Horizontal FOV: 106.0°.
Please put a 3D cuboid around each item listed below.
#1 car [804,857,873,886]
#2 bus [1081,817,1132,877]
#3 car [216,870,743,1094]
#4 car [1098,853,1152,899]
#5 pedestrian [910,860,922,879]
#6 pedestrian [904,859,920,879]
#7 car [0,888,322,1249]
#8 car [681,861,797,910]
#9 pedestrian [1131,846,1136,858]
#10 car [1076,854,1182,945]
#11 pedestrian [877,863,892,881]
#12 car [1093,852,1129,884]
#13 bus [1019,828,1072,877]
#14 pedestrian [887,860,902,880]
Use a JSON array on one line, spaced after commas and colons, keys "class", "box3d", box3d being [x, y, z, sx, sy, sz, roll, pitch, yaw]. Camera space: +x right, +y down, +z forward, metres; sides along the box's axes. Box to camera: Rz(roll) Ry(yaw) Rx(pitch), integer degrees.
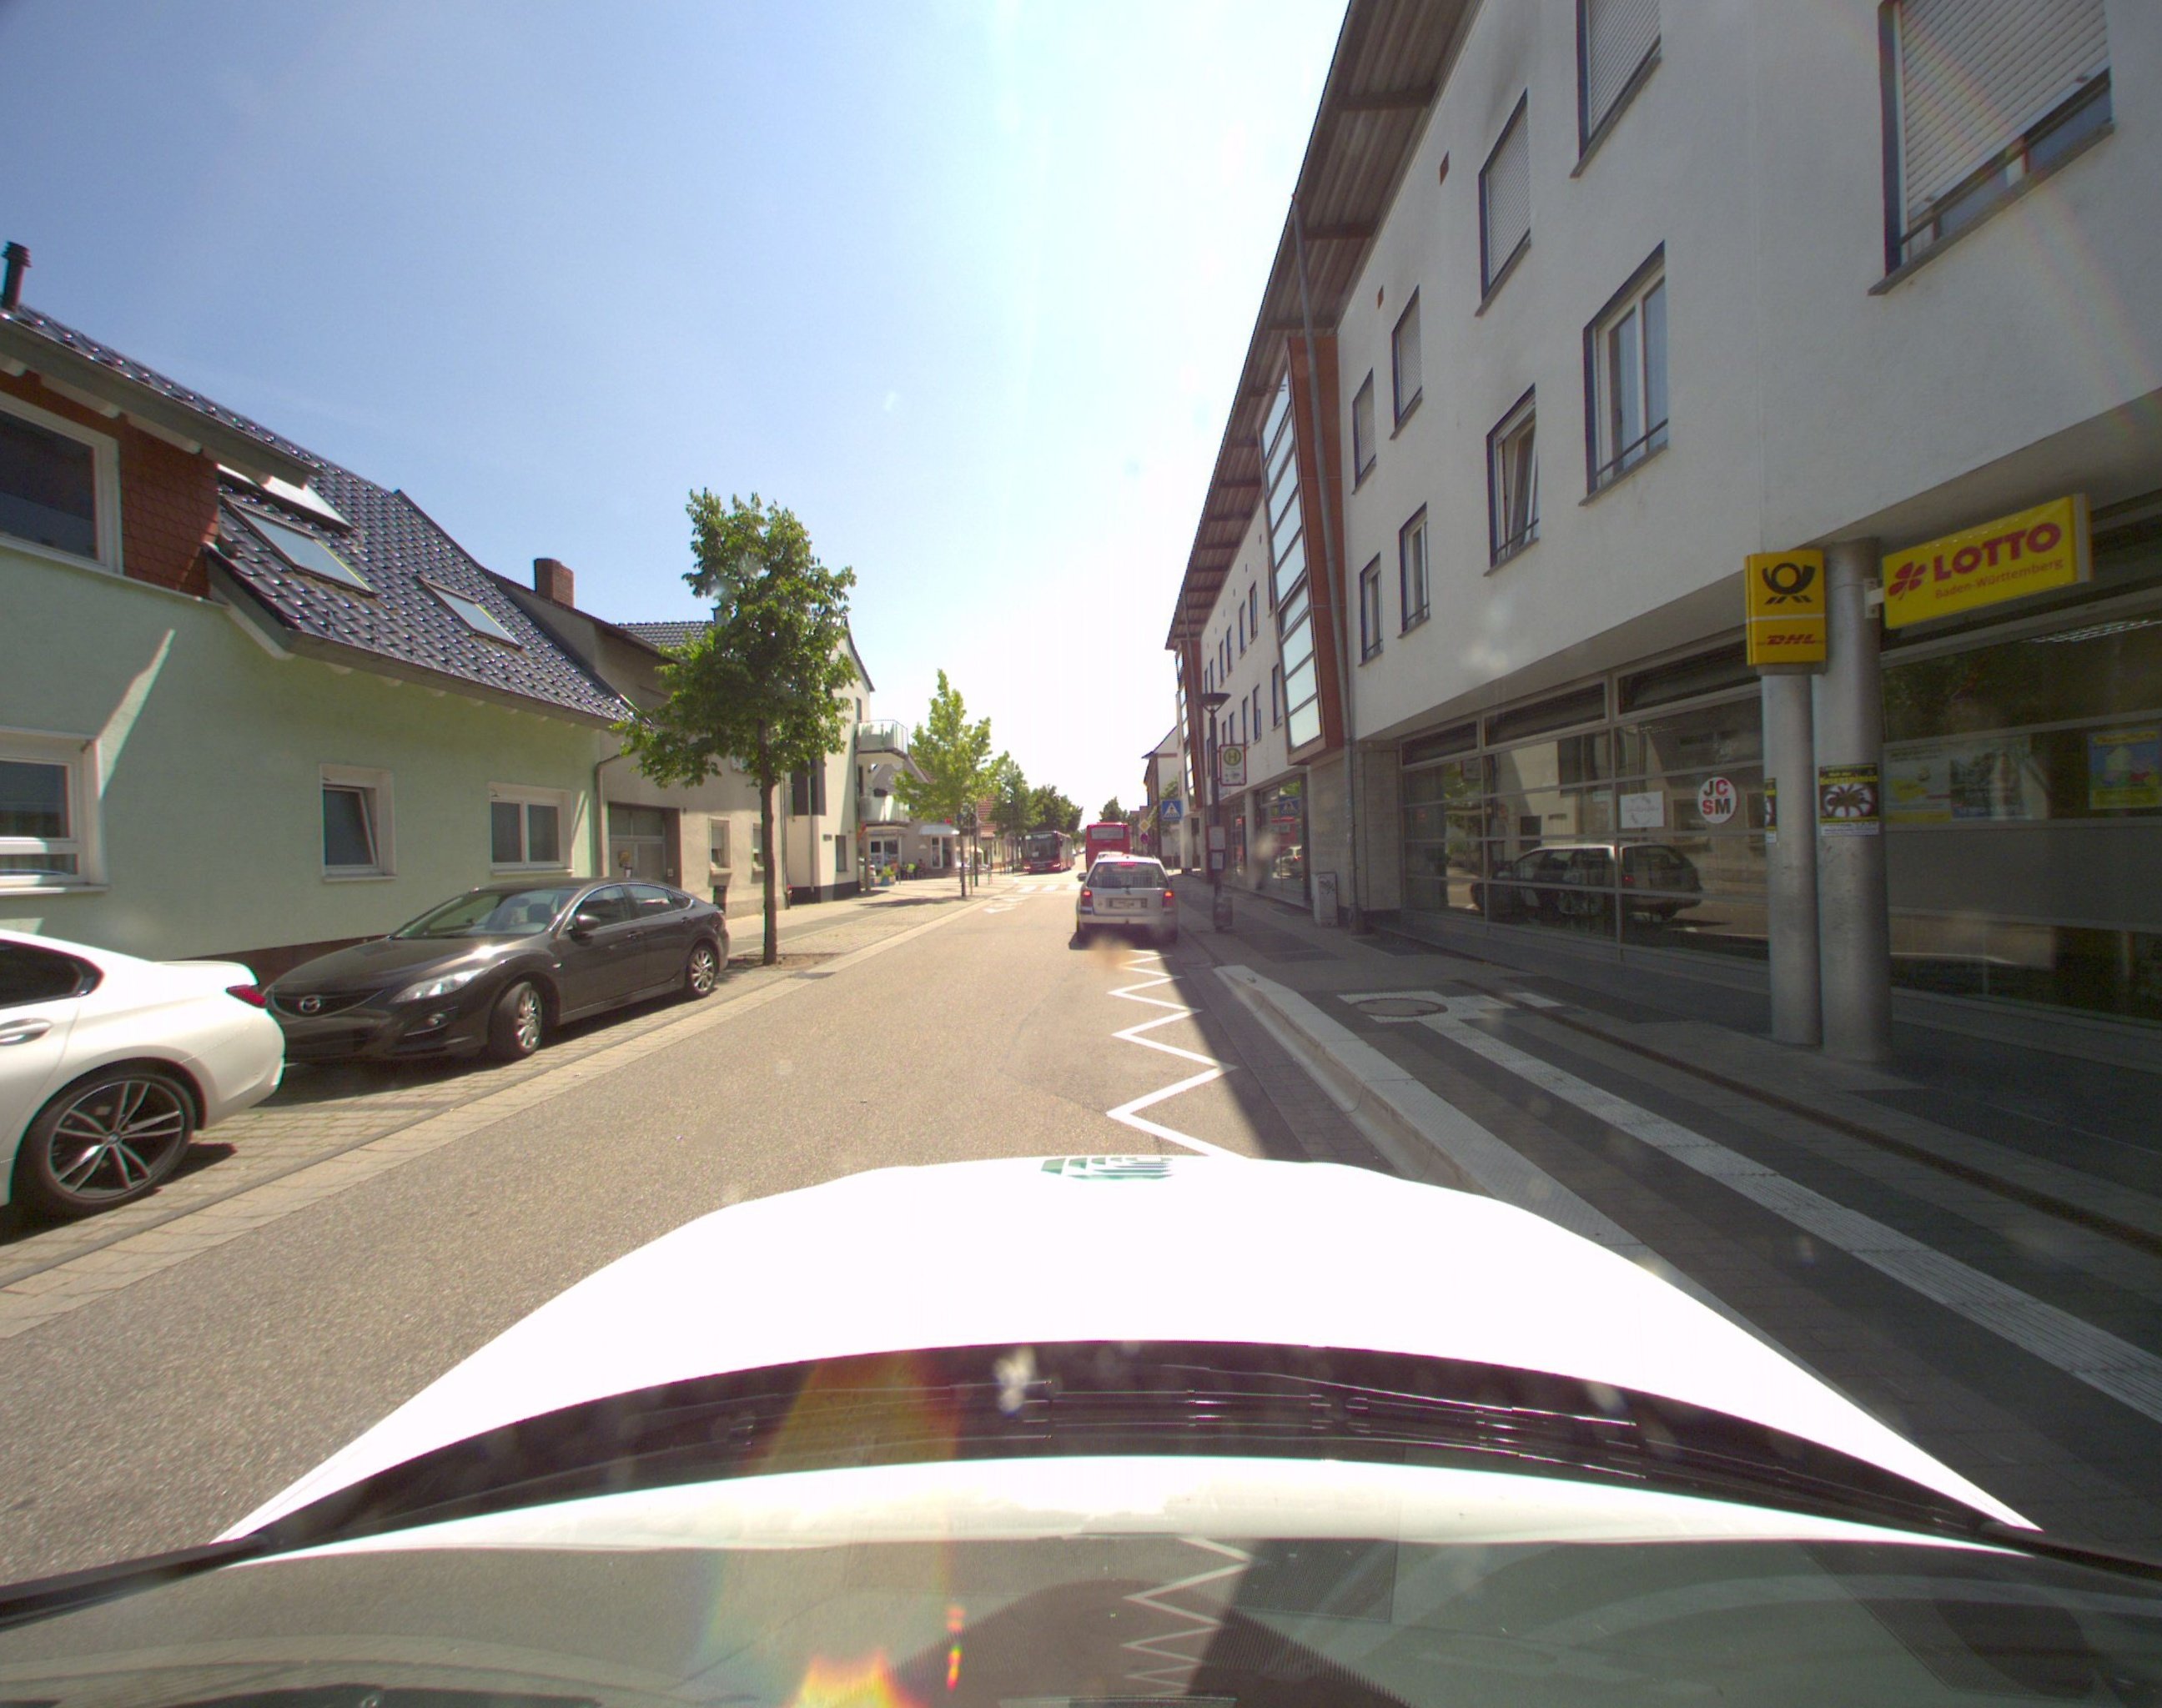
[{"class": "car", "box3d": [-14.801, 1.061, 49.917, 3.923, 1.545, 1.510, -2, 2, -16]}, {"class": "bus", "box3d": [1.424, -0.393, 51.572, 2.731, 3.298, 12.703, -1, 0, 0]}, {"class": "car", "box3d": [-5.214, 0.953, 8.039, 1.654, 1.437, 4.541, -2, 0, 2]}, {"class": "car", "box3d": [1.420, 0.692, 27.404, 1.671, 1.430, 3.680, -1, 0, 1]}, {"class": "pedestrian", "box3d": [-10.822, 1.018, 53.329, 0.620, 1.179, 0.696, -2, 0, -3]}, {"class": "pedestrian", "box3d": [-10.841, 0.960, 52.252, 0.639, 1.289, 0.780, 1, -1, -42]}, {"class": "car", "box3d": [-5.385, 0.944, 2.566, 1.714, 1.437, 4.461, -1, 0, 1]}, {"class": "car", "box3d": [-11.118, 1.005, 26.632, 3.108, 1.443, 1.585, -2, 0, -4]}, {"class": "pedestrian", "box3d": [7.062, -0.265, 109.648, 0.604, 1.667, 0.789, -2, 0, 0]}, {"class": "car", "box3d": [0.808, 0.731, 14.822, 1.671, 1.430, 3.680, 0, 0, 1]}, {"class": "pedestrian", "box3d": [-12.406, 1.133, 51.459, 0.639, 1.116, 0.780, 1, -1, -42]}, {"class": "car", "box3d": [1.436, 0.623, 38.715, 1.587, 1.430, 3.681, 0, 0, 2]}, {"class": "bus", "box3d": [-2.504, -0.125, 64.200, 2.659, 3.123, 17.814, -4, 0, 2]}, {"class": "pedestrian", "box3d": [-11.963, 1.008, 52.343, 0.639, 1.289, 0.780, 1, -1, -42]}]
